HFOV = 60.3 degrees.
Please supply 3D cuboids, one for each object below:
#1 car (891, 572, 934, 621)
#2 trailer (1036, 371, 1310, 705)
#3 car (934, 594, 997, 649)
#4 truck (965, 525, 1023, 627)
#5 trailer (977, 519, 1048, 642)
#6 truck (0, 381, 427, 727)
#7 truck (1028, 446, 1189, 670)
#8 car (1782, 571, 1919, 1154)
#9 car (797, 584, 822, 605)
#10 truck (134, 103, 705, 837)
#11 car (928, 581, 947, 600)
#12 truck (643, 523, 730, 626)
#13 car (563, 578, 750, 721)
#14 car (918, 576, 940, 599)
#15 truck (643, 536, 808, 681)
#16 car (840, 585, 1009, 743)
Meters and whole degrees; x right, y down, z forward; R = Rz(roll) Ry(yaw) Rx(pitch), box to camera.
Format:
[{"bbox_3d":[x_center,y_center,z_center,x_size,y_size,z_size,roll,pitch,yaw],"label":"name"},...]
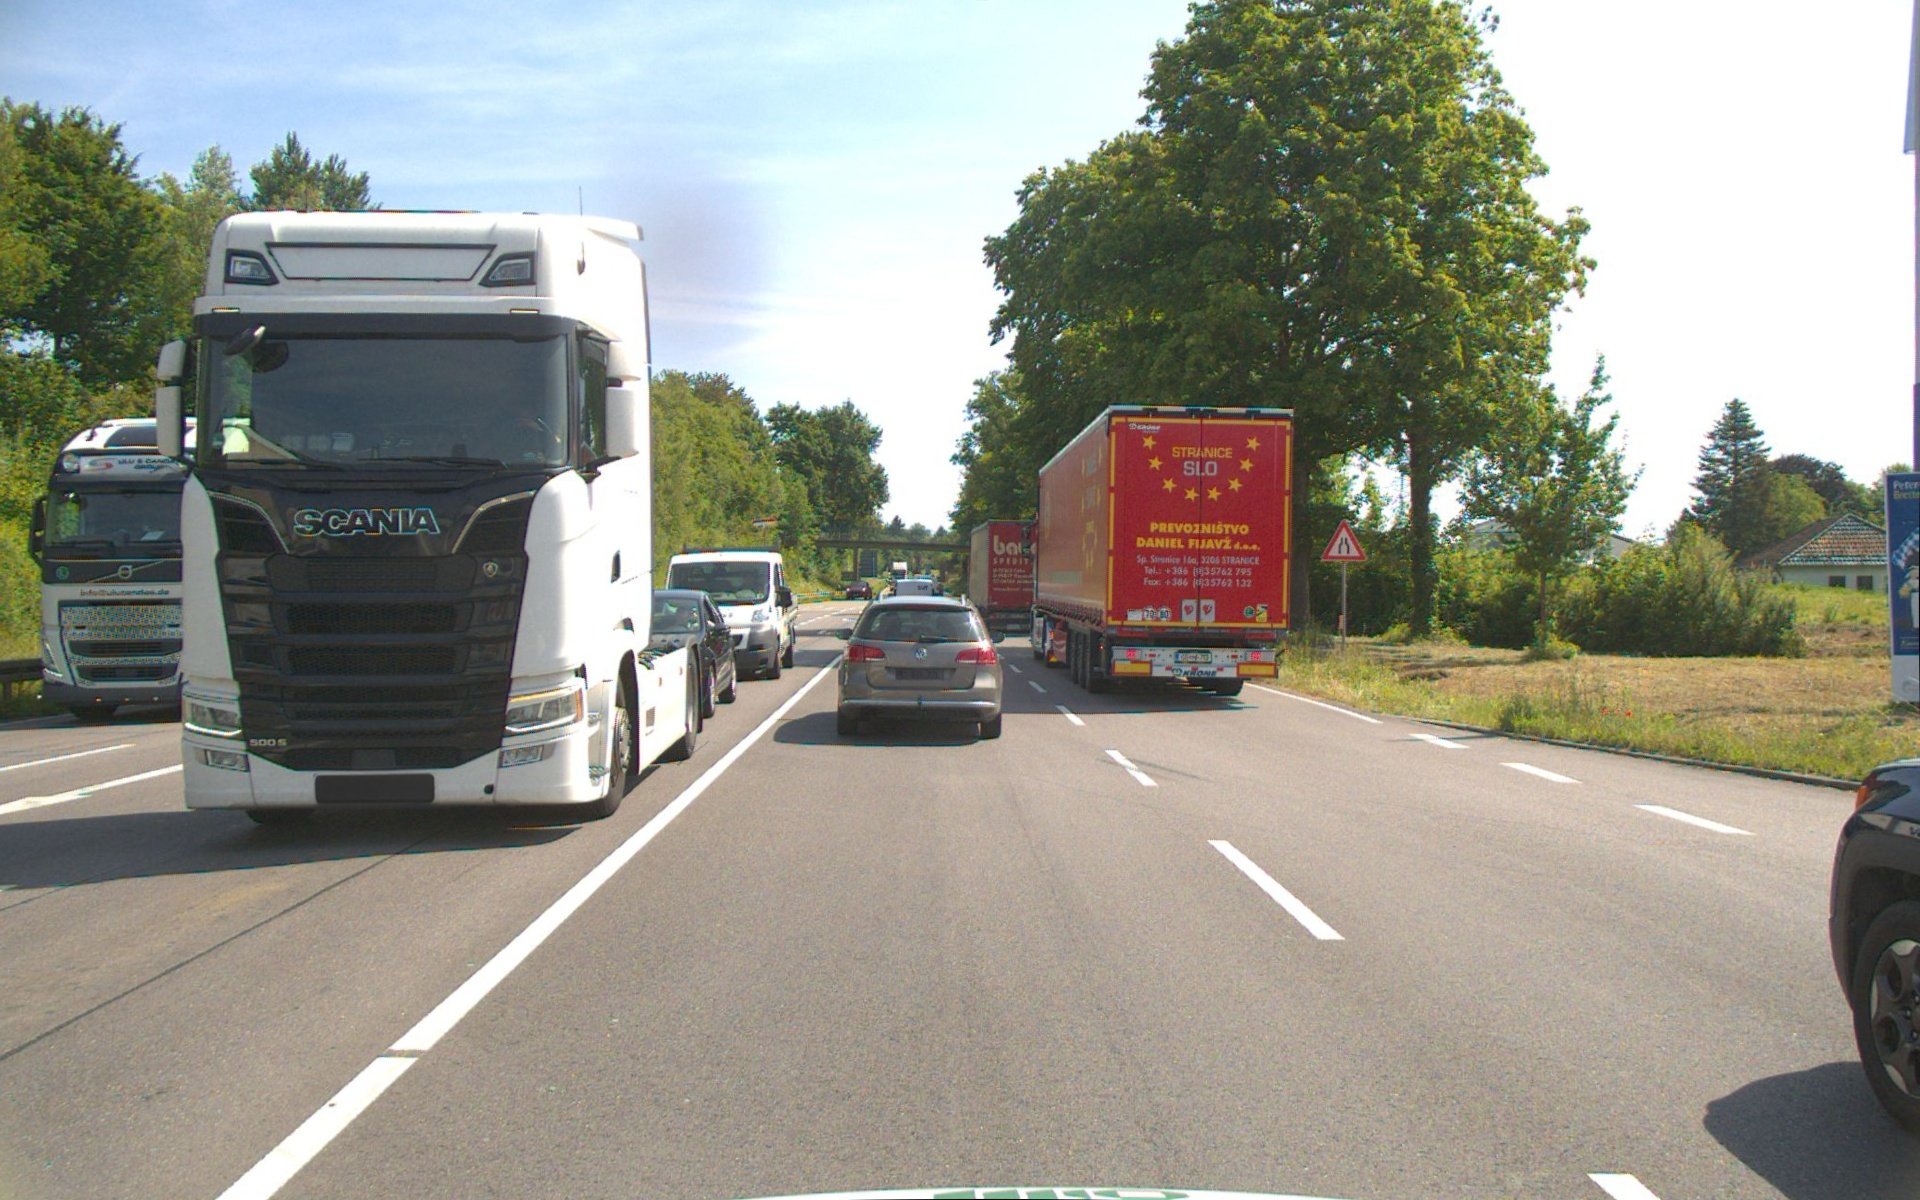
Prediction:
[{"bbox_3d":[-1.993,-0.145,69.193,1.735,1.970,3.976,-1,0,-2],"label":"car"},{"bbox_3d":[3.173,-0.836,28.796,2.782,4.442,13.164,1,0,-1],"label":"trailer"},{"bbox_3d":[0.130,0.621,49.828,1.735,1.539,3.998,-1,0,-2],"label":"car"},{"bbox_3d":[1.427,-0.999,71.517,2.357,4.200,5.521,-1,0,0],"label":"truck"},{"bbox_3d":[1.931,-0.689,65.048,2.346,4.317,13.077,-1,0,0],"label":"trailer"},{"bbox_3d":[-10.870,-0.568,25.047,2.773,4.188,9.677,-1,0,-2],"label":"truck"},{"bbox_3d":[3.039,-0.830,35.390,2.811,4.356,5.838,1,0,-1],"label":"truck"},{"bbox_3d":[3.620,0.744,3.530,1.734,1.683,4.000,-1,0,0],"label":"car"},{"bbox_3d":[-13.203,-0.487,145.130,1.933,1.828,4.806,-1,0,-3],"label":"car"},{"bbox_3d":[-3.561,-0.762,12.574,2.486,4.159,6.262,-1,0,-3],"label":"truck"},{"bbox_3d":[-2.479,-1.054,180.757,1.953,2.049,3.998,-1,0,-2],"label":"car"},{"bbox_3d":[-10.076,-0.909,61.518,2.296,3.582,6.694,-1,0,-2],"label":"truck"},{"bbox_3d":[-3.692,0.559,20.767,1.676,1.578,4.107,-1,0,-2],"label":"car"},{"bbox_3d":[-2.904,-1.157,155.653,1.953,2.049,3.998,-1,0,-2],"label":"car"},{"bbox_3d":[-4.101,0.132,30.109,2.182,2.307,6.498,-1,0,-1],"label":"truck"},{"bbox_3d":[-0.426,0.631,18.446,1.657,1.539,3.998,-1,0,-2],"label":"car"}]
